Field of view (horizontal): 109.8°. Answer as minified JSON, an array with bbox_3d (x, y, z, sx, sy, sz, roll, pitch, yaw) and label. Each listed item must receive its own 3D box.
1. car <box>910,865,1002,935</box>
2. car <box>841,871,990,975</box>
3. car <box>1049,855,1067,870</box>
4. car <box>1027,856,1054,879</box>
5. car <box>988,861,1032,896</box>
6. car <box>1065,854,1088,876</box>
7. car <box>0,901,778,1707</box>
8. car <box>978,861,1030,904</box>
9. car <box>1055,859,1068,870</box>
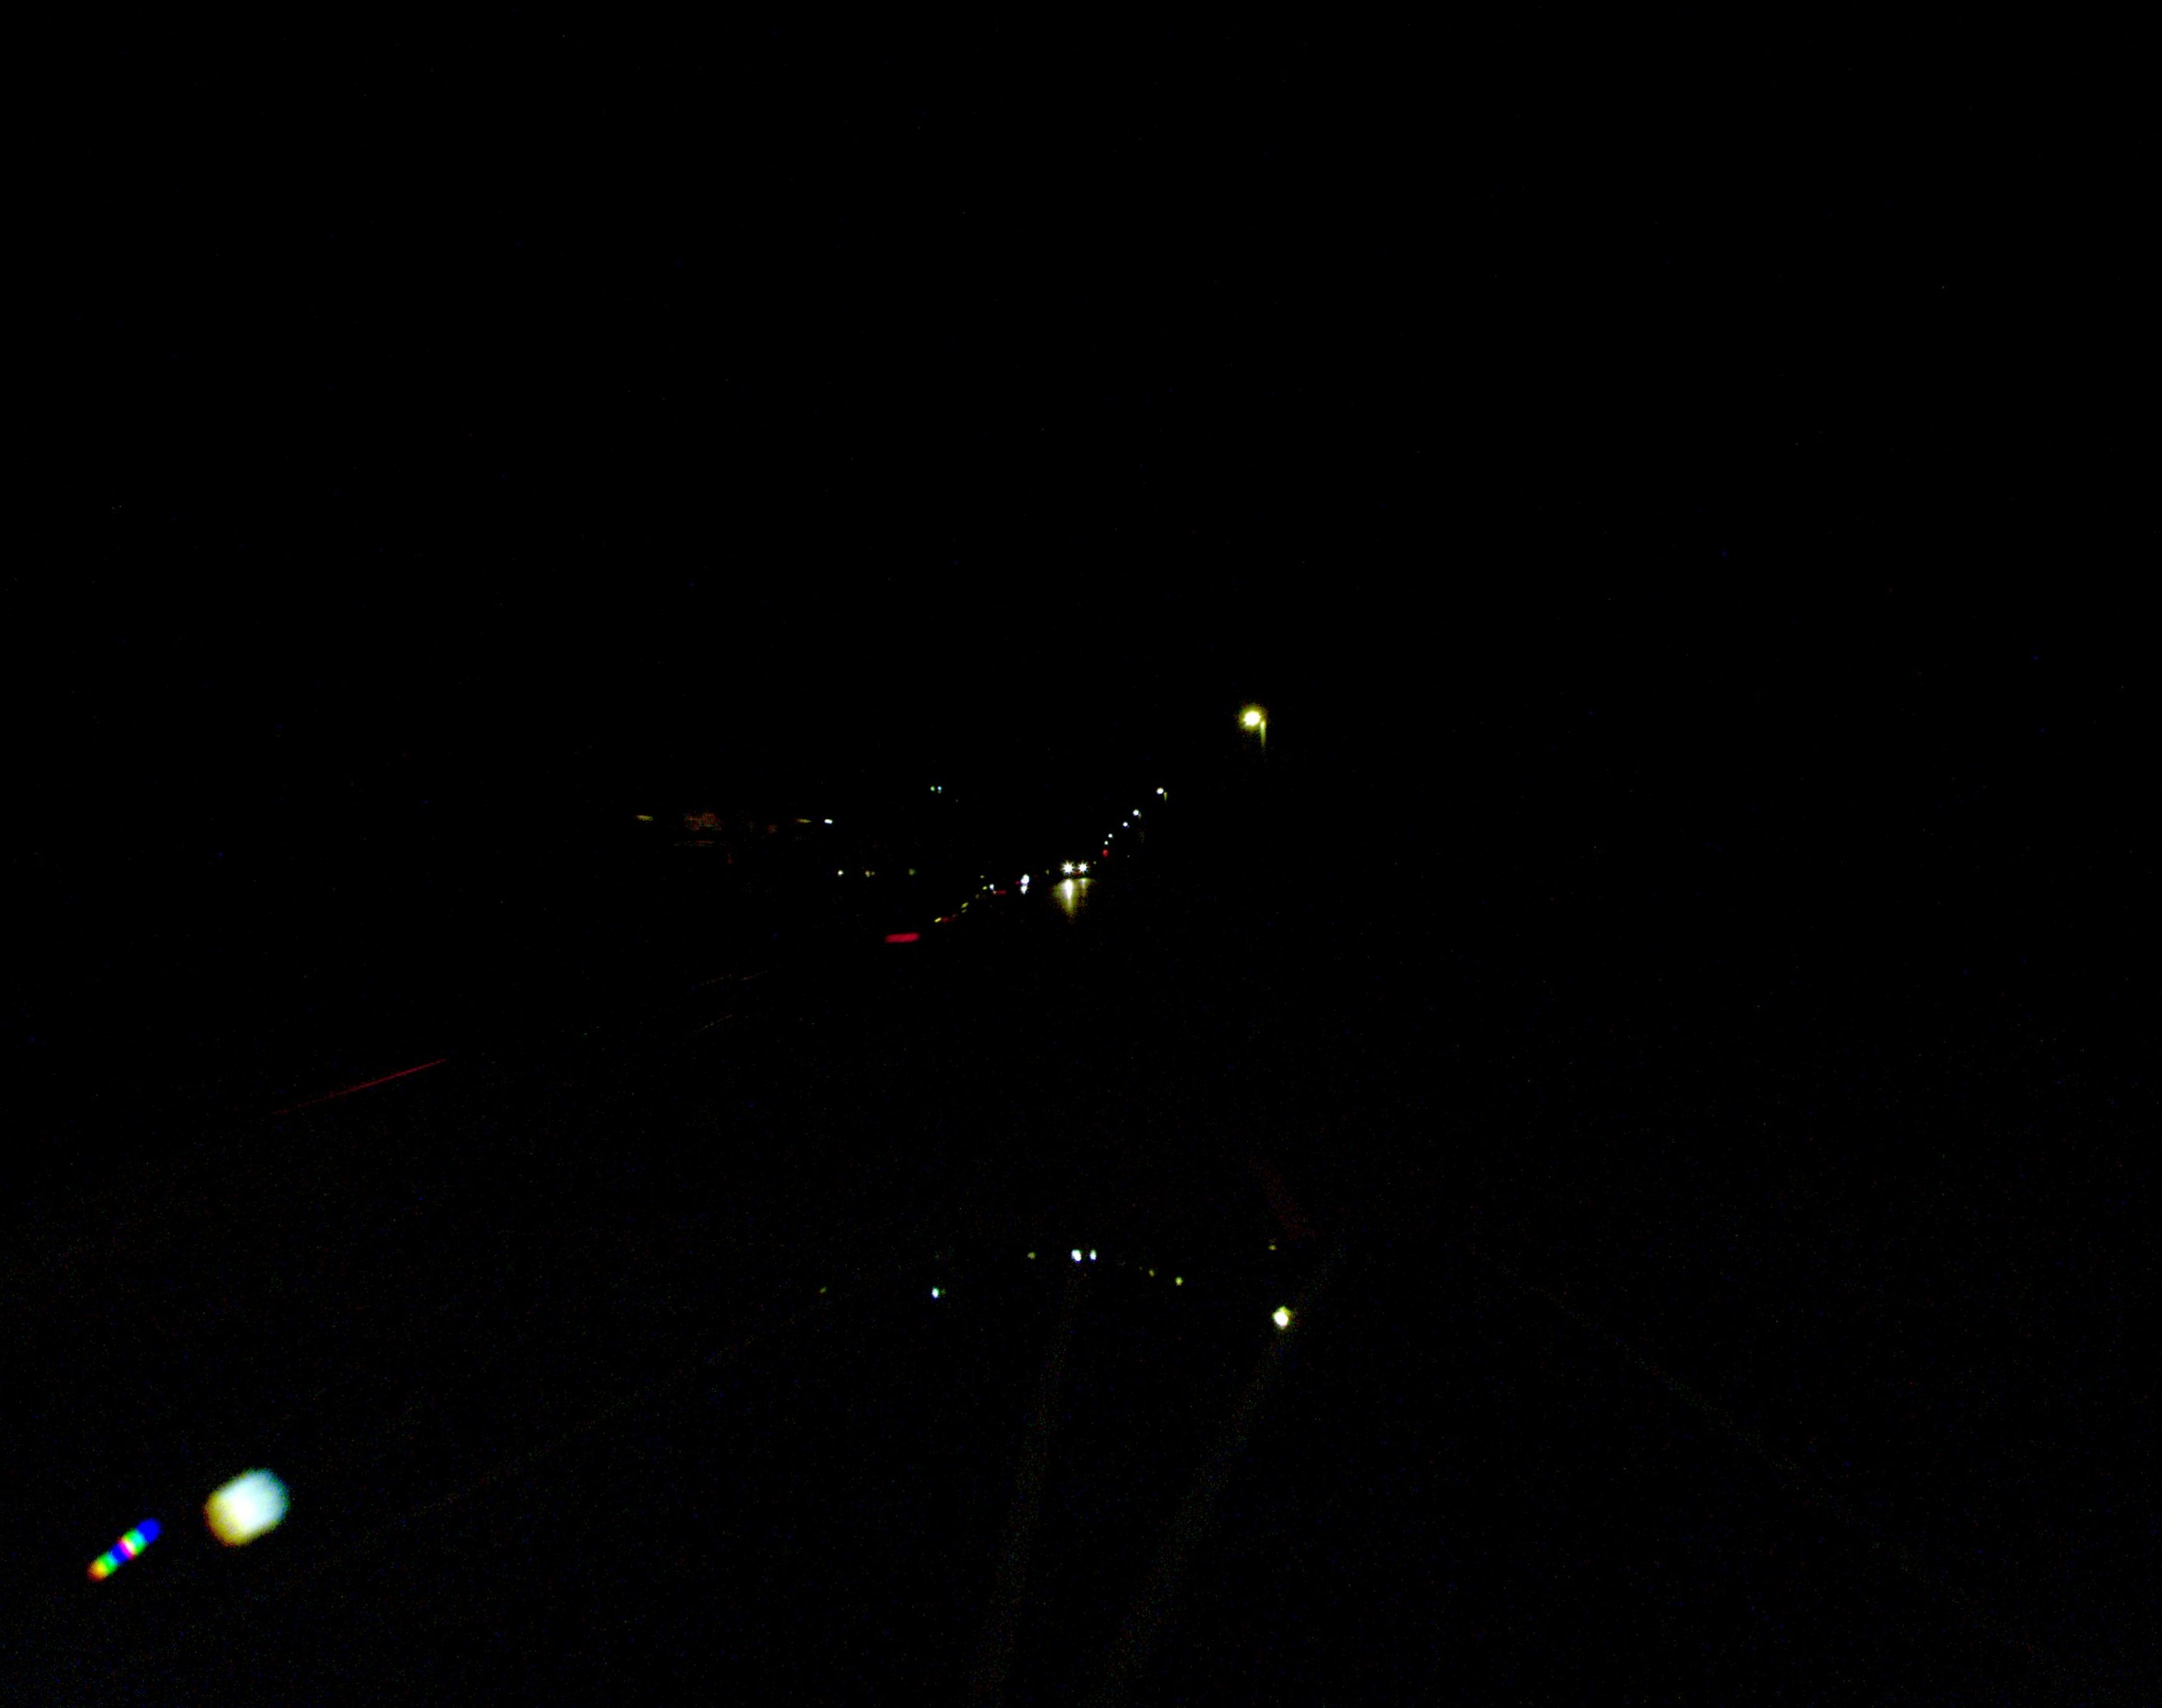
[{"bbox_3d":[-3.087,1.097,19.504,1.643,1.458,3.776,-3,0,0],"label":"car"},{"bbox_3d":[-2.829,1.121,13.964,1.766,1.407,4.439,-3,0,-1],"label":"car"},{"bbox_3d":[-2.326,0.825,76.423,1.702,1.447,3.713,-3,0,-1],"label":"car"},{"bbox_3d":[-2.827,0.929,53.476,1.656,1.465,3.517,-3,0,-1],"label":"car"},{"bbox_3d":[-3.206,1.094,34.861,1.604,1.390,3.517,-3,0,0],"label":"car"},{"bbox_3d":[-0.348,0.821,56.456,1.627,1.496,3.549,-3,0,-1],"label":"car"},{"bbox_3d":[-2.959,1.077,2.634,1.680,1.439,4.612,-3,0,3],"label":"car"},{"bbox_3d":[-2.926,1.062,29.561,1.681,1.439,3.999,-2,0,-2],"label":"car"},{"bbox_3d":[-2.680,1.475,106.789,1.702,1.447,3.713,-3,0,-1],"label":"car"}]
